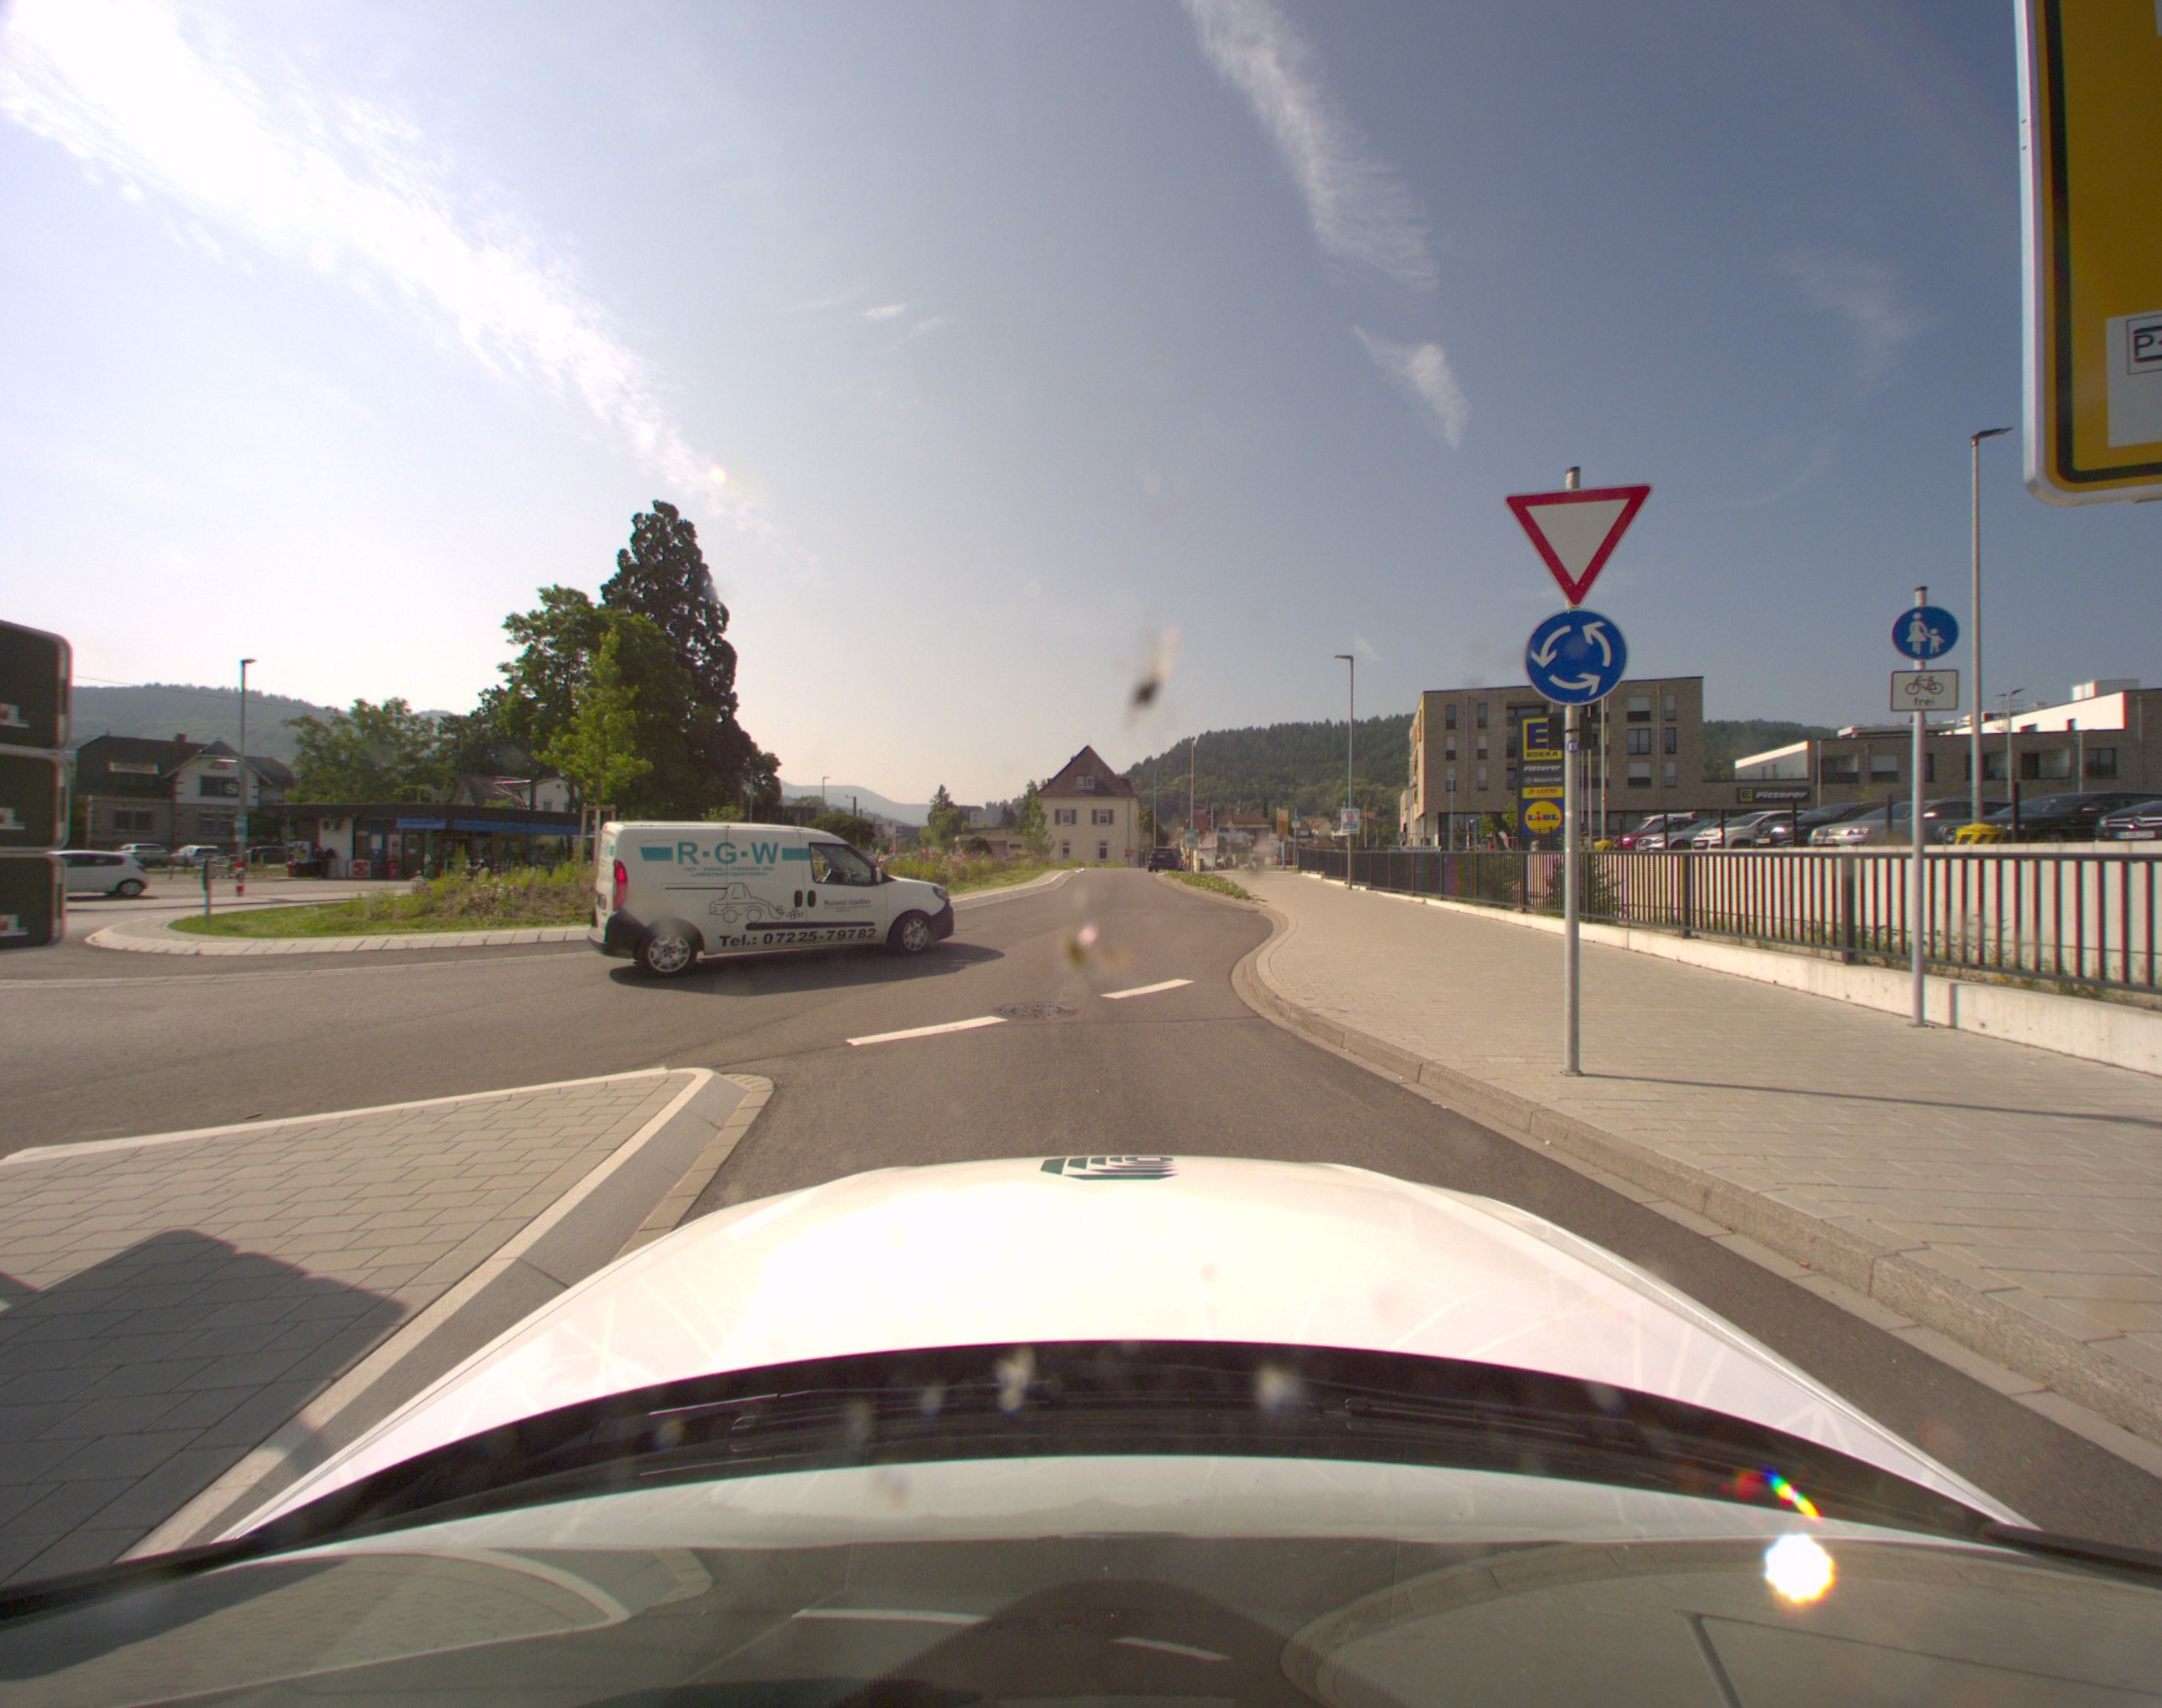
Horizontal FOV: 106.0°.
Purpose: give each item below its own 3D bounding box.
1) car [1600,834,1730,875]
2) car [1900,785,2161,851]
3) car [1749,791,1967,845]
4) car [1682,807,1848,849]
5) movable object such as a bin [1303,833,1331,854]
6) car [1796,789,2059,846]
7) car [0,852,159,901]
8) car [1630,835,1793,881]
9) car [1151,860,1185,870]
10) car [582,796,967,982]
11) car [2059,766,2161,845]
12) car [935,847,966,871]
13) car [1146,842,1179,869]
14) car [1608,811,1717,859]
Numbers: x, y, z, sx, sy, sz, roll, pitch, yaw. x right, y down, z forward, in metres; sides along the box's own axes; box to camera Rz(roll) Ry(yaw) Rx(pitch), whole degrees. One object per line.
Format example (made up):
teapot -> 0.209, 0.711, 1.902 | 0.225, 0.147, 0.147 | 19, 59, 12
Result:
car -> 21.413, 0.015, 29.989 | 3.538, 1.430, 1.713 | 0, 0, 5
car -> 19.340, -0.681, 16.327 | 3.947, 1.245, 1.732 | 0, 0, 5
car -> 20.366, -0.928, 21.488 | 4.017, 1.342, 1.663 | 0, 0, 5
car -> 20.660, -0.774, 24.725 | 3.538, 1.199, 1.717 | 0, 0, 5
movable object such as a bin -> 21.916, -0.967, 75.779 | 2.426, 1.844, 1.434 | -1, -1, 14
car -> 19.654, -0.832, 19.069 | 4.258, 1.245, 1.666 | 0, 0, 5
car -> -32.144, 0.716, 25.806 | 1.375, 1.450, 3.557 | 0, -2, 25
car -> 21.111, 0.114, 27.421 | 4.034, 1.487, 1.720 | 0, 0, 8
car -> 8.407, 1.045, 78.663 | 1.357, 0.964, 3.241 | 1, -2, -39
car -> -4.042, 0.308, 11.107 | 4.623, 2.077, 1.793 | -2, 3, -34
car -> 19.263, -0.773, 13.337 | 4.193, 1.245, 1.746 | 0, 0, 5
car -> -11.443, 0.421, 71.584 | 1.802, 2.013, 4.003 | 0, 0, 3
car -> 5.338, 0.136, 53.058 | 1.870, 1.684, 4.010 | -1, -1, 9
car -> 27.764, -0.841, 39.024 | 3.950, 2.136, 2.012 | -1, -1, 26
